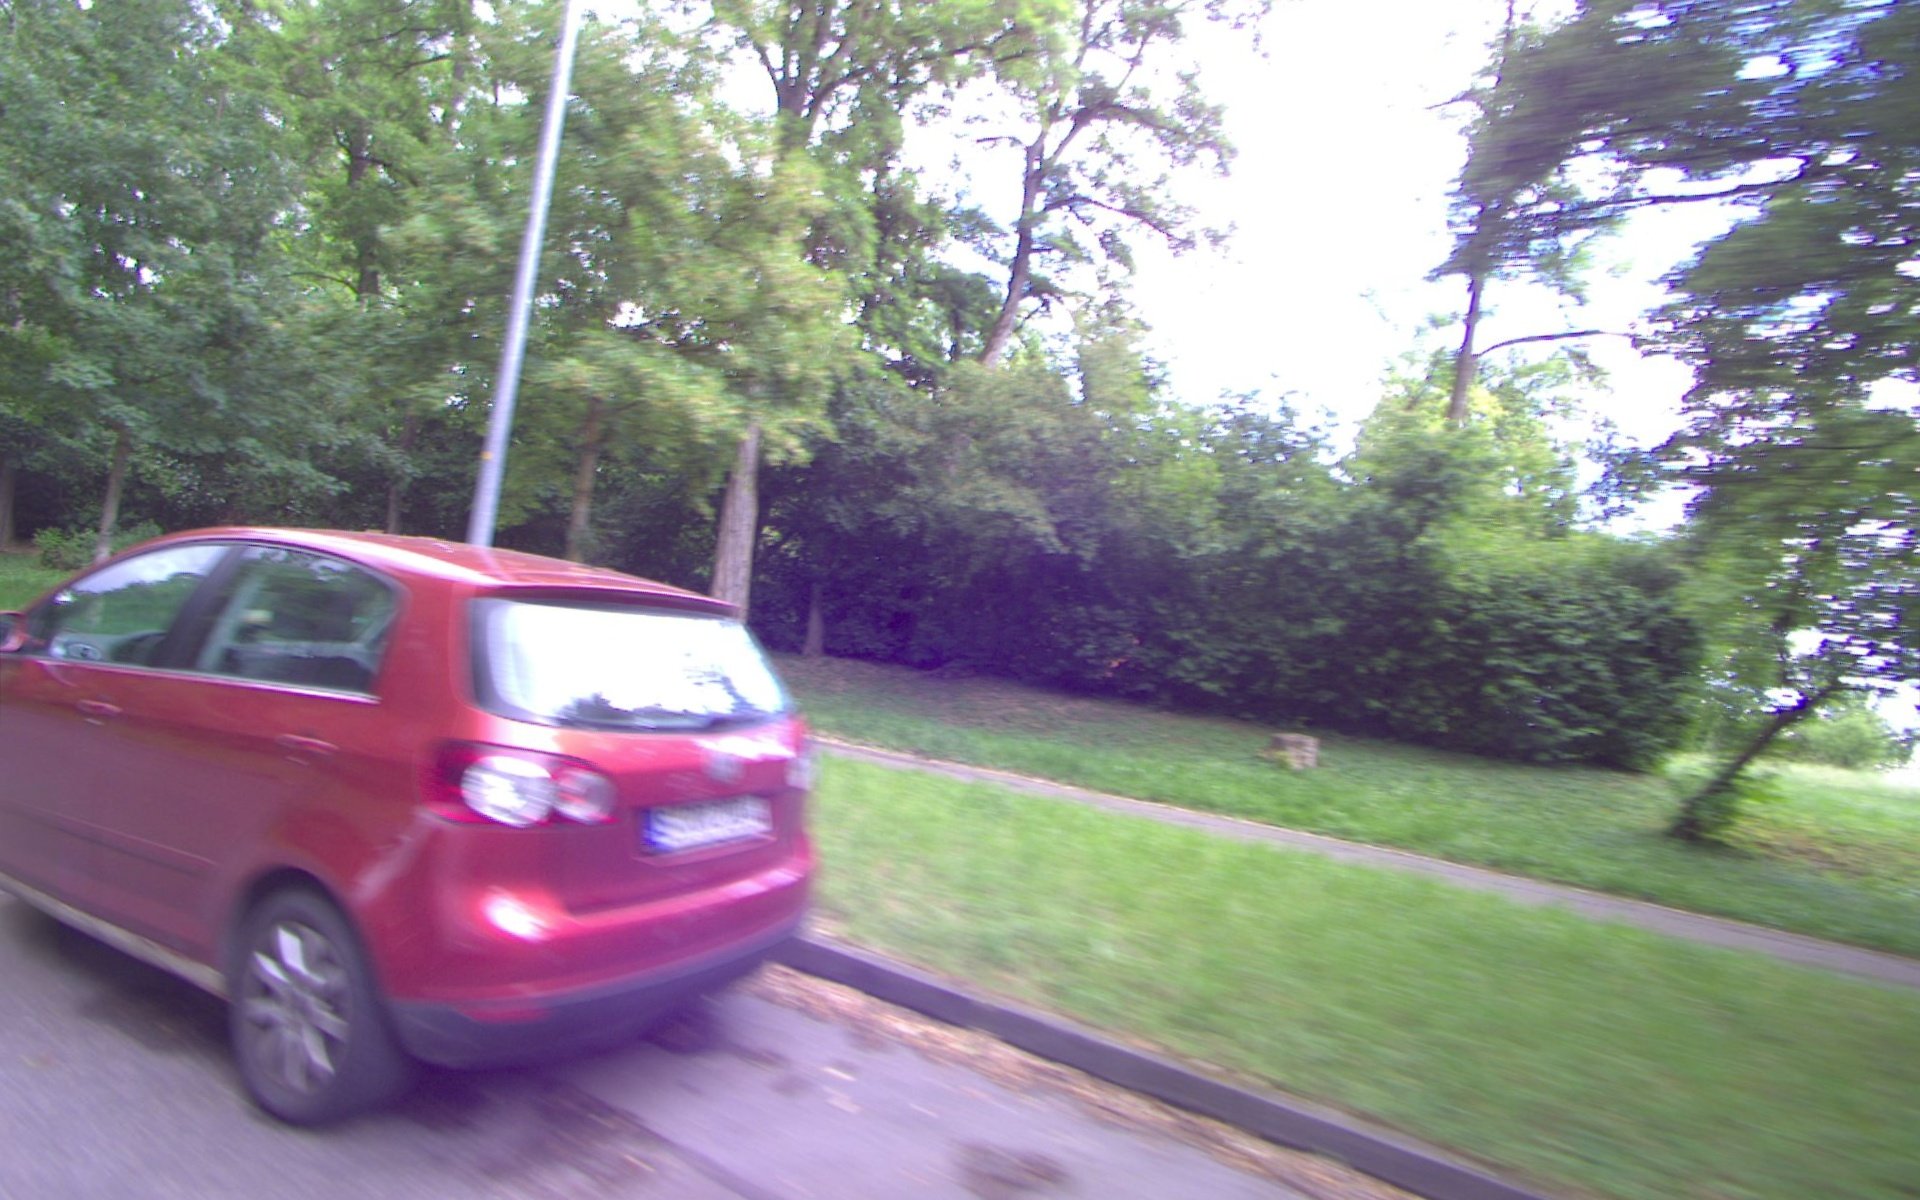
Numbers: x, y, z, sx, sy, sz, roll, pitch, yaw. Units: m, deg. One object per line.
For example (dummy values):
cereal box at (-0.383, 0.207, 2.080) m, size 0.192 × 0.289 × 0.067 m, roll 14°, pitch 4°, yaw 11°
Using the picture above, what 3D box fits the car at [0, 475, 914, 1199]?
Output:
car at (-2.382, 0.478, 3.934) m, size 3.930 × 1.581 × 1.742 m, roll 6°, pitch 0°, yaw 27°
